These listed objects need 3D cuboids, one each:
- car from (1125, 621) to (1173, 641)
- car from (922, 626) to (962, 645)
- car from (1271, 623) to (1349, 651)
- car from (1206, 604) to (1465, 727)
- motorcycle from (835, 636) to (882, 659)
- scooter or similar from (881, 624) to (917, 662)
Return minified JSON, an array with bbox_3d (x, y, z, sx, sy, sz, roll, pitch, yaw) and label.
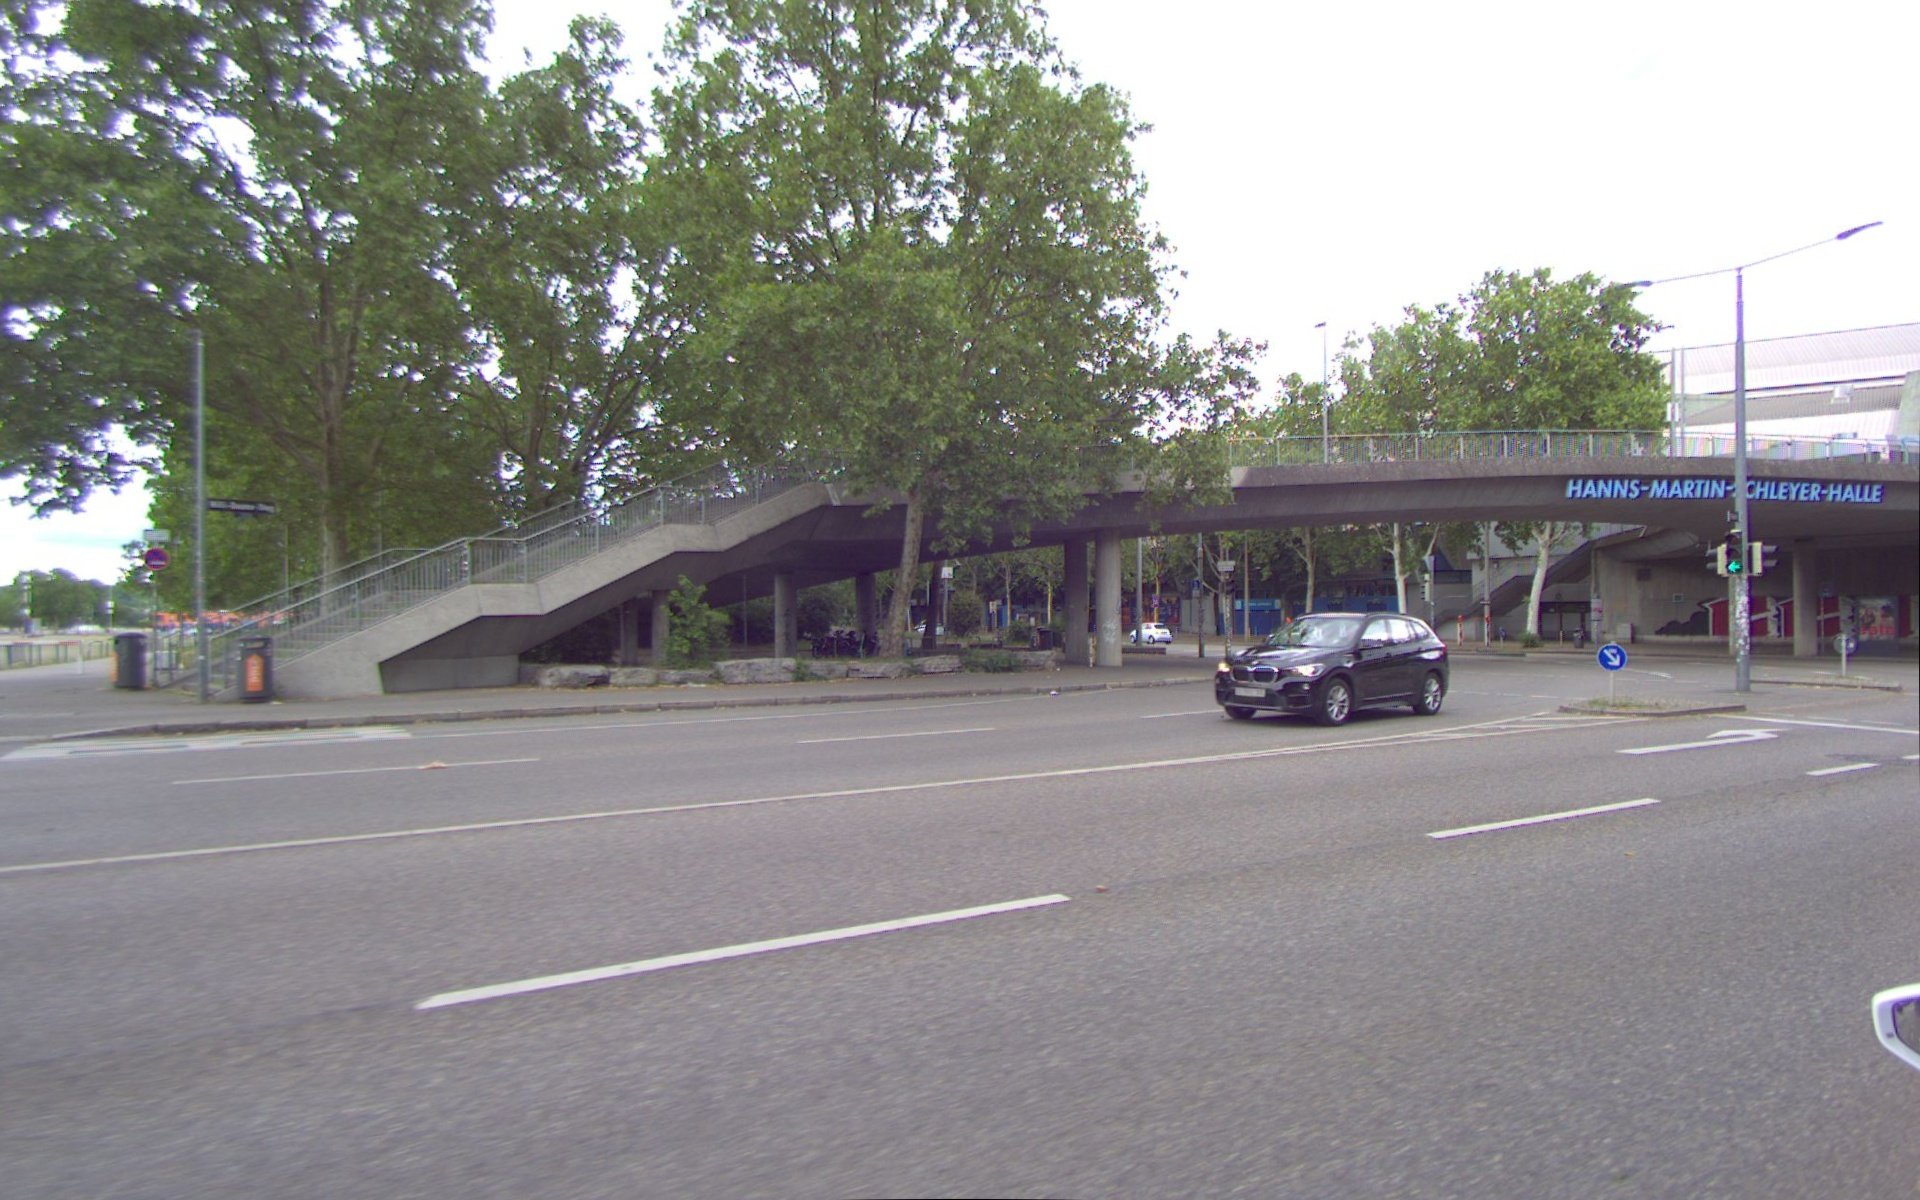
[{"bbox_3d":[13.457,2.190,71.557,1.596,1.330,3.369,1,-1,-29],"label":"car"},{"bbox_3d":[-1.733,3.434,97.570,1.981,1.682,3.959,1,-1,-36],"label":"car"},{"bbox_3d":[19.811,2.068,56.995,1.975,1.437,3.971,1,-1,-28],"label":"car"},{"bbox_3d":[5.852,0.944,15.420,4.390,1.627,1.755,1,-3,-39],"label":"car"},{"bbox_3d":[-3.910,1.831,38.771,1.714,0.862,0.646,1,-1,-25],"label":"motorcycle"},{"bbox_3d":[-2.191,1.563,36.306,1.214,1.336,0.414,3,-3,-31],"label":"scooter or similar"}]
